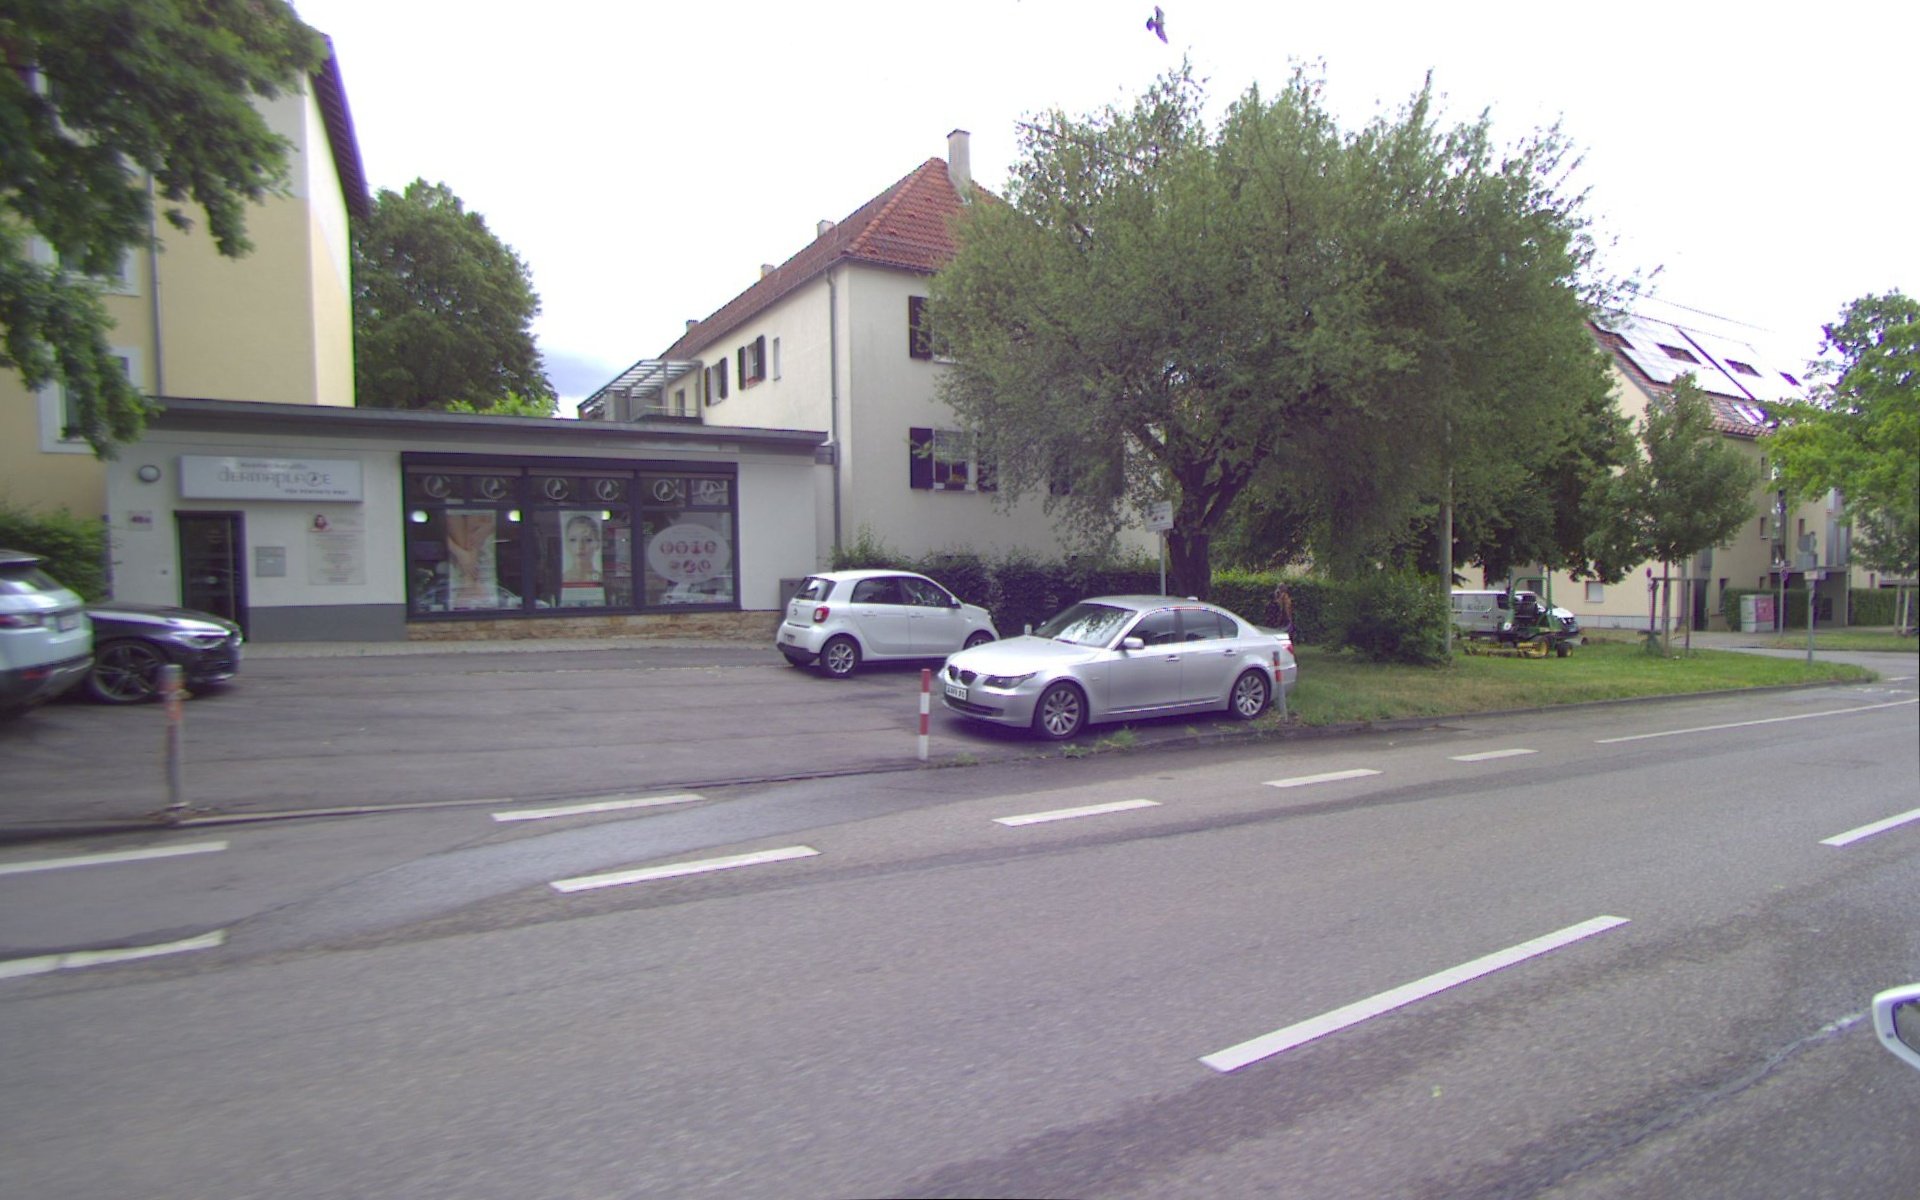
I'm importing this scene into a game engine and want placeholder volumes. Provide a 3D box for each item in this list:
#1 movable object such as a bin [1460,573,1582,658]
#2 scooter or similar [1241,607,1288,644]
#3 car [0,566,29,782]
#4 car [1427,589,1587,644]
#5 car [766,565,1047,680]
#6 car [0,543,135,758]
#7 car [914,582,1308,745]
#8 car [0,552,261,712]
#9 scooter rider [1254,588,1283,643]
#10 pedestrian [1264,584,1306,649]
[{"bbox_3d":[13.469,0.365,24.093,2.990,1.929,1.211,1,1,-31],"label":"movable object such as a bin"},{"bbox_3d":[7.248,0.593,23.893,1.188,0.854,0.324,1,1,-31],"label":"scooter or similar"},{"bbox_3d":[-8.657,0.508,5.901,4.338,1.556,1.754,1,1,-29],"label":"car"},{"bbox_3d":[20.589,0.573,38.056,1.979,1.838,4.963,1,1,-33],"label":"car"},{"bbox_3d":[-0.824,0.327,16.327,4.240,1.655,1.752,1,1,-32],"label":"car"},{"bbox_3d":[-9.247,0.343,7.919,3.951,1.655,1.753,1,3,-29],"label":"car"},{"bbox_3d":[1.925,0.665,12.231,4.697,1.655,1.752,1,1,-31],"label":"car"},{"bbox_3d":[-9.910,0.277,10.268,4.389,1.490,1.752,1,3,-31],"label":"car"},{"bbox_3d":[7.353,0.371,23.958,0.553,1.293,0.349,1,1,-31],"label":"scooter rider"},{"bbox_3d":[8.253,0.413,25.519,0.821,1.635,0.626,1,1,-34],"label":"pedestrian"}]
